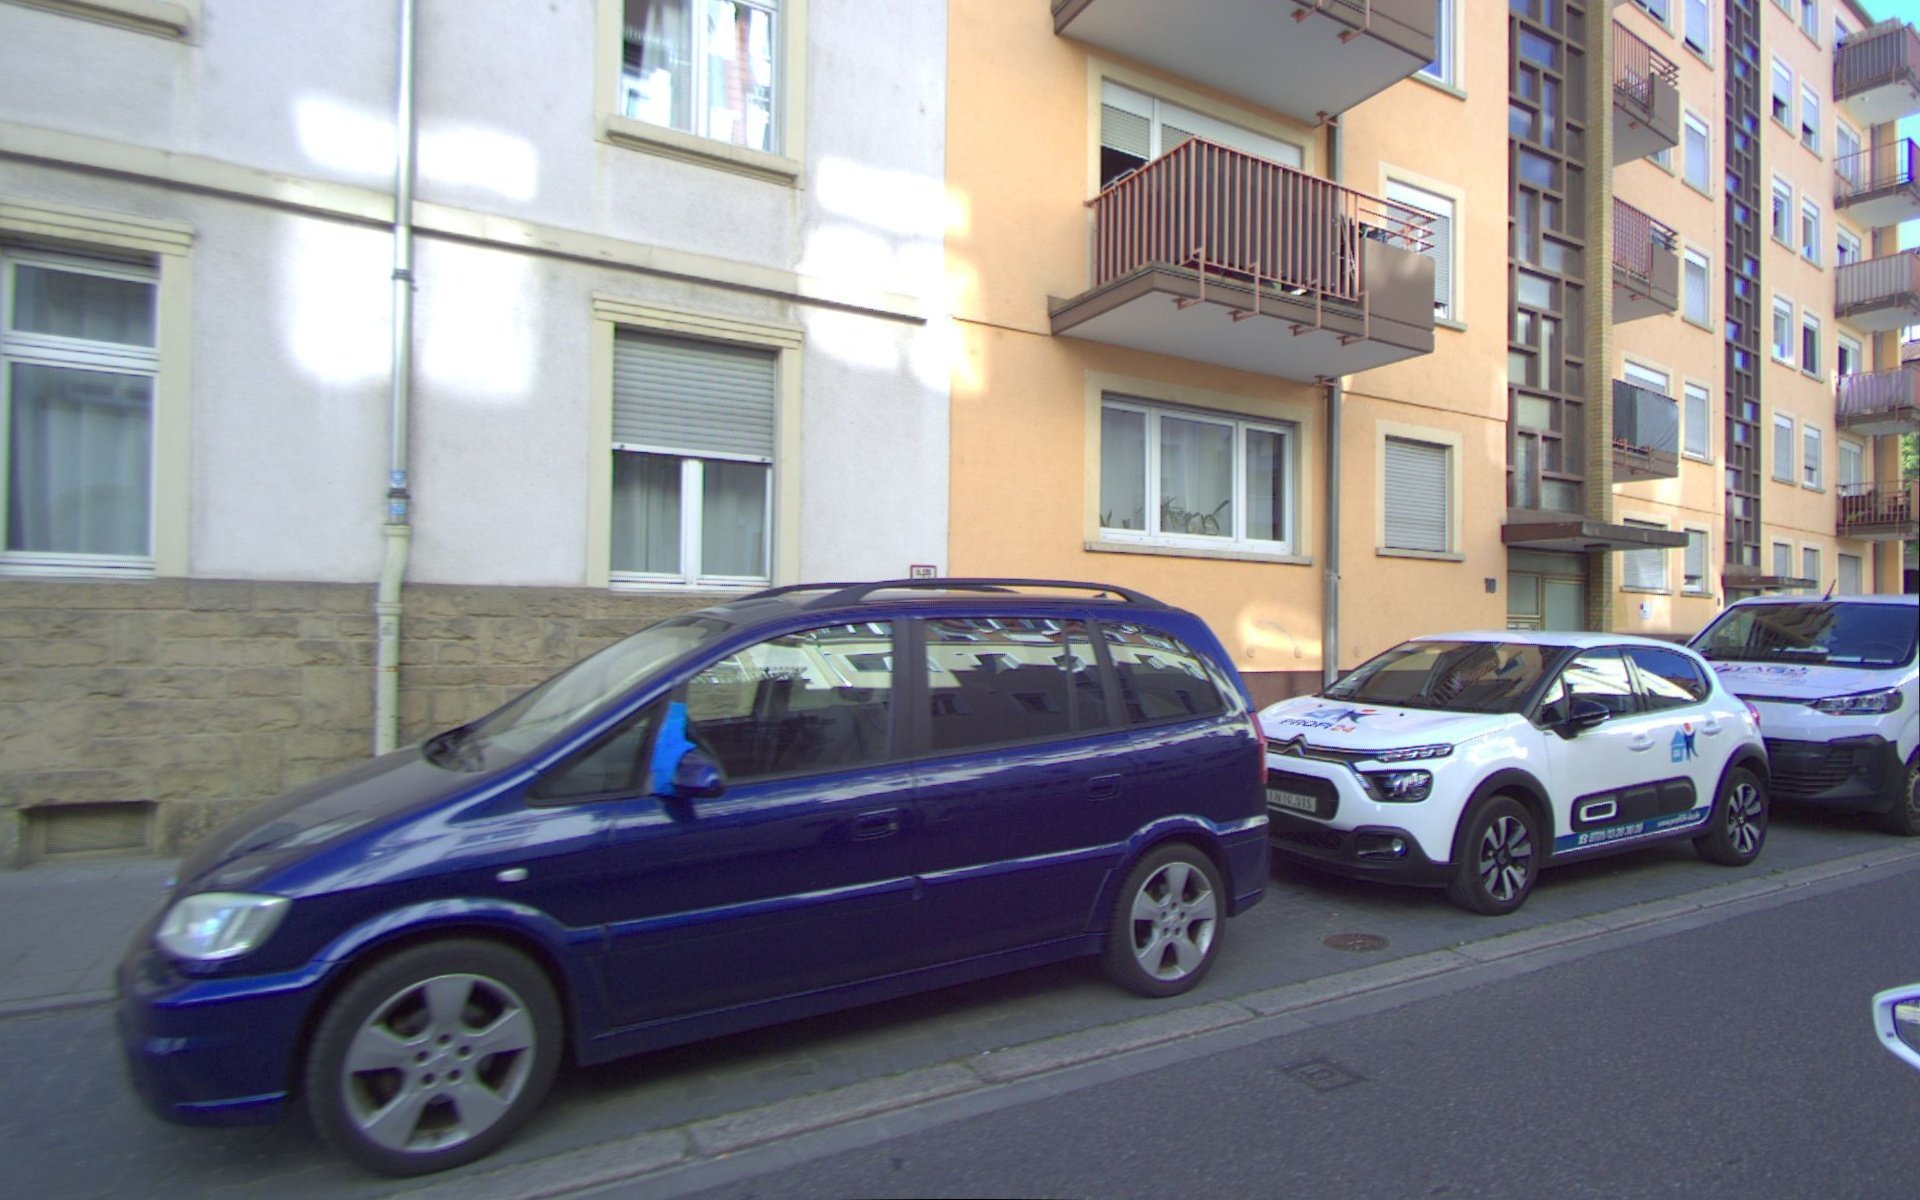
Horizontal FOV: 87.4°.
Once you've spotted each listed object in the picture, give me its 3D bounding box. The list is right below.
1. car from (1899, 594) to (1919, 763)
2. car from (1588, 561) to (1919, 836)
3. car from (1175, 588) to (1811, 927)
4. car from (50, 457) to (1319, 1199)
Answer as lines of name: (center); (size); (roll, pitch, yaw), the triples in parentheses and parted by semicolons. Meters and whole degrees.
car: (13.527, 0.929, 12.172); (4.875, 1.950, 1.755); (1, -2, -30)
car: (8.289, 0.769, 9.284); (5.245, 1.950, 1.967); (1, -2, -30)
car: (3.636, 0.824, 6.698); (4.243, 1.642, 1.755); (1, -2, -30)
car: (-0.678, 0.622, 4.164); (4.242, 1.794, 1.755); (1, -2, -30)
